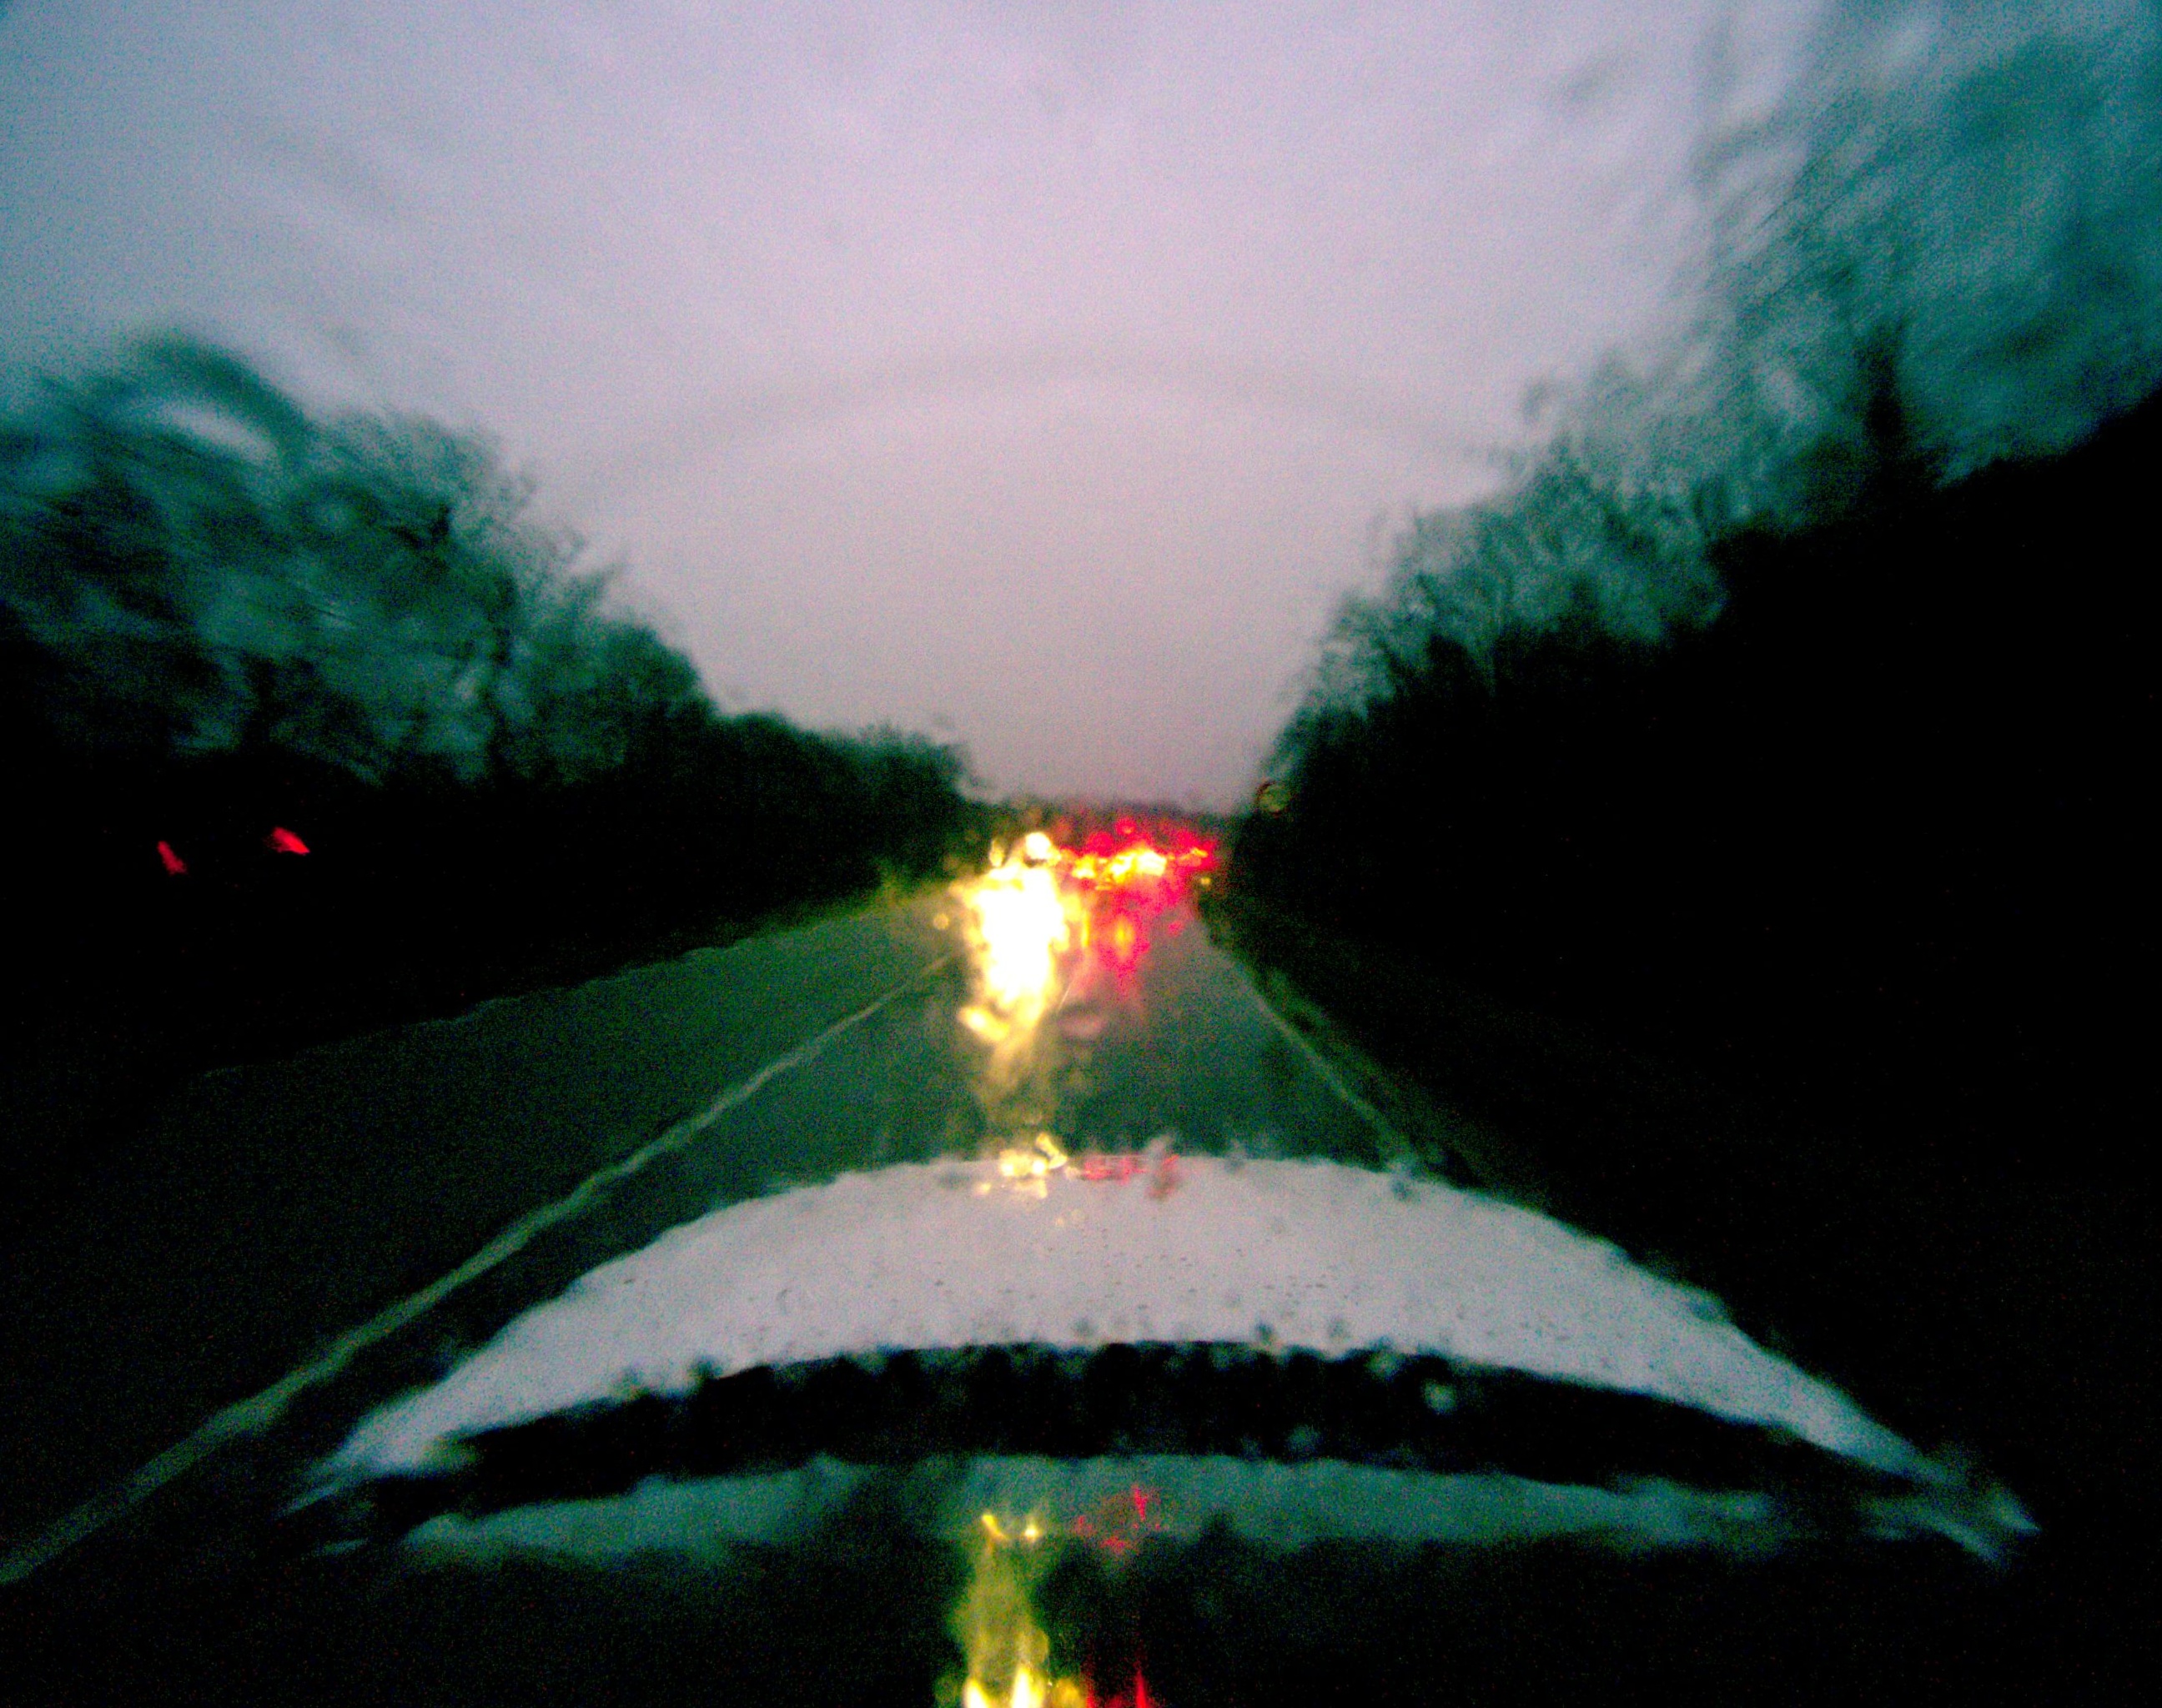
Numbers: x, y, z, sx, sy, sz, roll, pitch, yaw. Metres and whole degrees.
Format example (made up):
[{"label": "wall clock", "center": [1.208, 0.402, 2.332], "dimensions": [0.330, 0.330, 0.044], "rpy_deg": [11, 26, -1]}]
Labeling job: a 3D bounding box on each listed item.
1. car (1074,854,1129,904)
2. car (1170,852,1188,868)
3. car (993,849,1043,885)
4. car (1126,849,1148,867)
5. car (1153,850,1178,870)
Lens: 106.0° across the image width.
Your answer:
[{"label": "car", "center": [0.666, 0.765, 26.968], "dimensions": [1.626, 1.421, 4.172], "rpy_deg": [2, 1, 1]}, {"label": "car", "center": [10.614, 0.613, 88.346], "dimensions": [1.671, 1.675, 4.103], "rpy_deg": [0, 1, 4]}, {"label": "car", "center": [-2.743, 0.517, 36.189], "dimensions": [1.757, 1.497, 4.105], "rpy_deg": [0, 1, 2]}, {"label": "car", "center": [5.370, 0.369, 78.948], "dimensions": [1.997, 1.555, 4.520], "rpy_deg": [1, 1, 2]}, {"label": "car", "center": [6.311, 0.432, 60.927], "dimensions": [1.671, 1.389, 4.102], "rpy_deg": [0, 1, 3]}]
